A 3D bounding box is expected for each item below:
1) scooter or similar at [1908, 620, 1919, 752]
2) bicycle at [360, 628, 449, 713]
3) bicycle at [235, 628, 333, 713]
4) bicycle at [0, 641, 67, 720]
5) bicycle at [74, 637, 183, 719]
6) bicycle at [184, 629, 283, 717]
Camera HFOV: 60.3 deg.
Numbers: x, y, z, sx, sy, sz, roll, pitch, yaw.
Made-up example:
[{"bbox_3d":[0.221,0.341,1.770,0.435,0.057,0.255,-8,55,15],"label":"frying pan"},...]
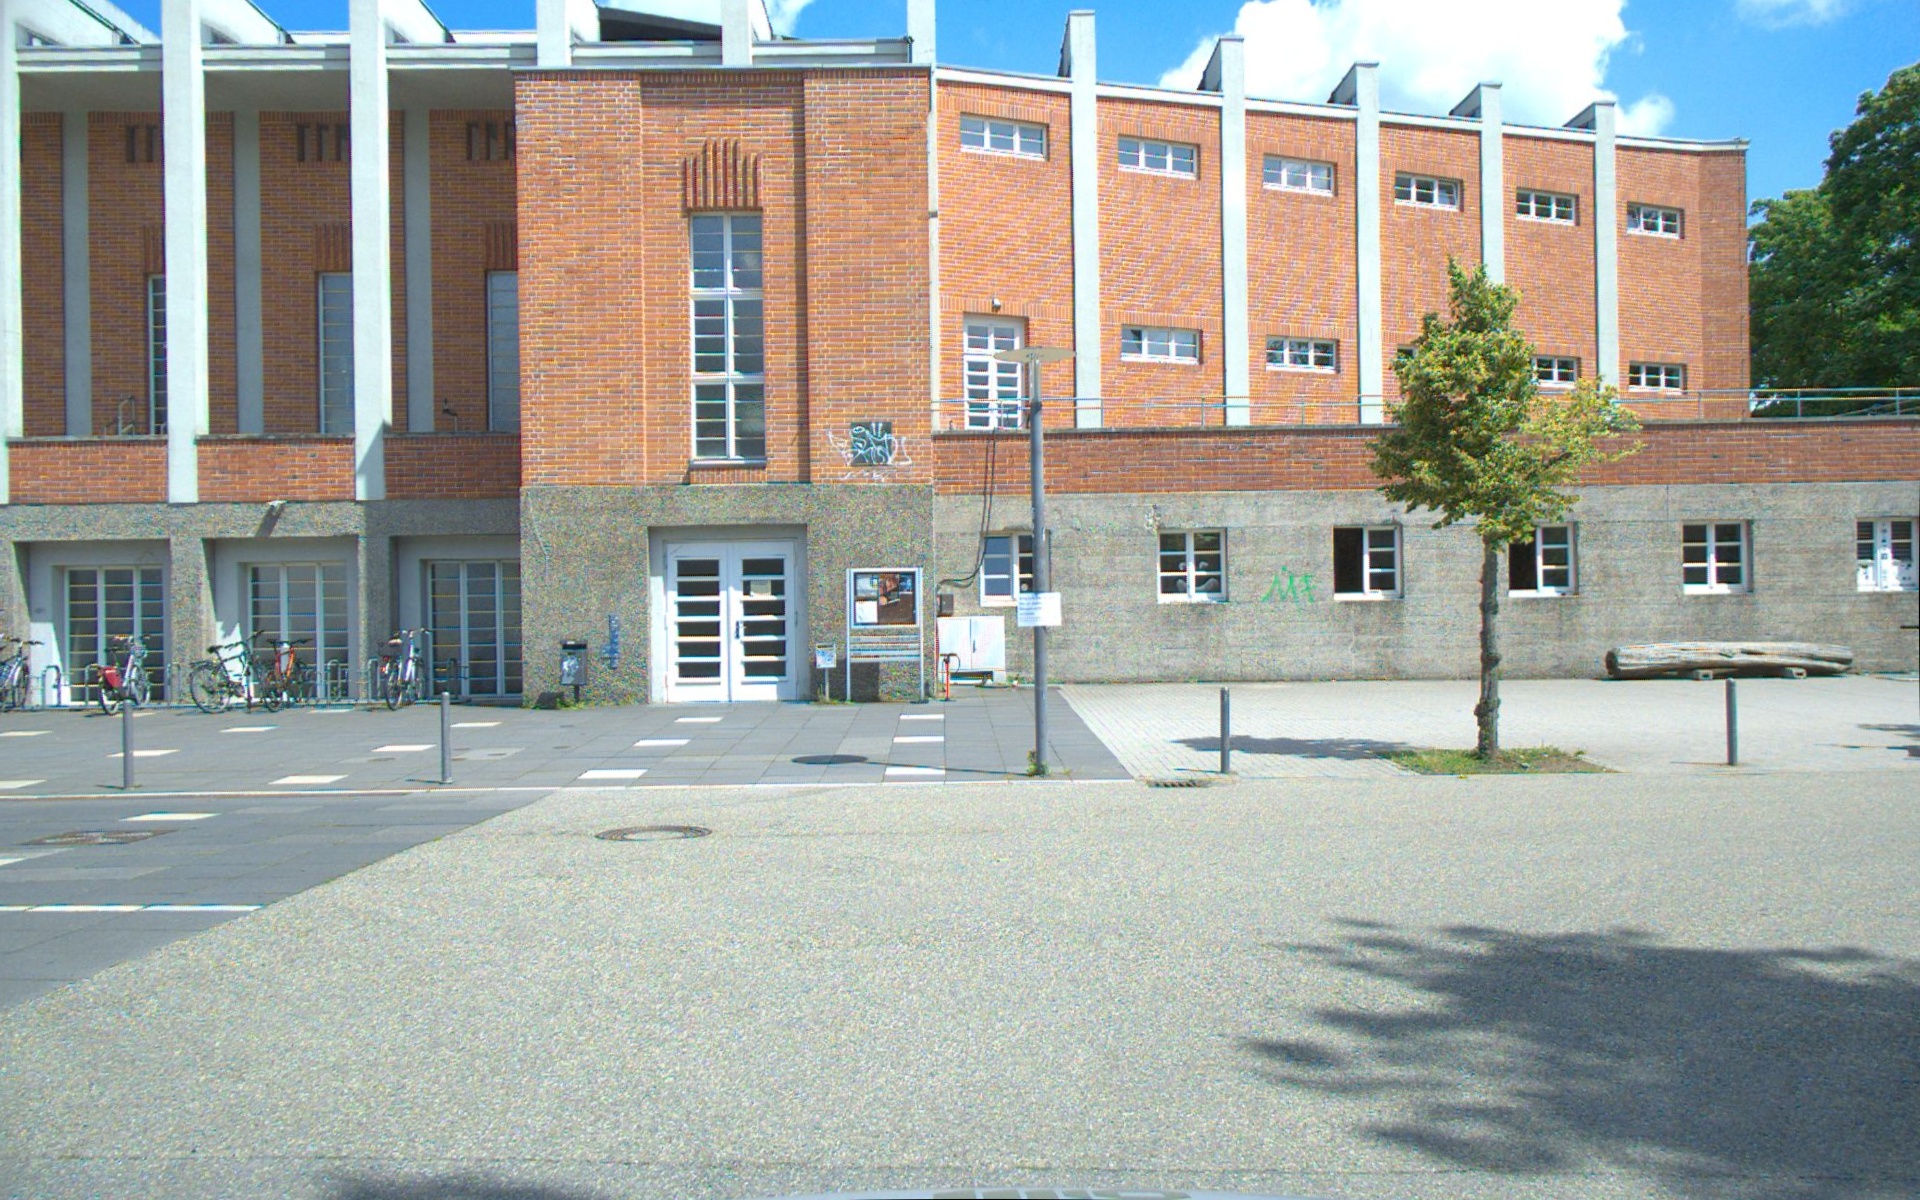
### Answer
[{"bbox_3d":[9.619,0.831,16.095,0.557,1.246,1.574,-1,0,26],"label":"scooter or similar"},{"bbox_3d":[-8.125,1.004,24.277,0.651,1.145,2.027,-1,0,-2],"label":"bicycle"},{"bbox_3d":[-9.910,1.014,24.318,0.578,1.145,2.028,-1,0,0],"label":"bicycle"},{"bbox_3d":[-13.962,1.171,24.279,0.648,1.079,2.027,-1,0,-2],"label":"bicycle"},{"bbox_3d":[-12.166,1.121,24.269,0.607,1.101,2.016,-1,0,-2],"label":"bicycle"},{"bbox_3d":[-10.637,1.051,24.297,0.428,1.145,2.029,-1,1,3],"label":"bicycle"}]
